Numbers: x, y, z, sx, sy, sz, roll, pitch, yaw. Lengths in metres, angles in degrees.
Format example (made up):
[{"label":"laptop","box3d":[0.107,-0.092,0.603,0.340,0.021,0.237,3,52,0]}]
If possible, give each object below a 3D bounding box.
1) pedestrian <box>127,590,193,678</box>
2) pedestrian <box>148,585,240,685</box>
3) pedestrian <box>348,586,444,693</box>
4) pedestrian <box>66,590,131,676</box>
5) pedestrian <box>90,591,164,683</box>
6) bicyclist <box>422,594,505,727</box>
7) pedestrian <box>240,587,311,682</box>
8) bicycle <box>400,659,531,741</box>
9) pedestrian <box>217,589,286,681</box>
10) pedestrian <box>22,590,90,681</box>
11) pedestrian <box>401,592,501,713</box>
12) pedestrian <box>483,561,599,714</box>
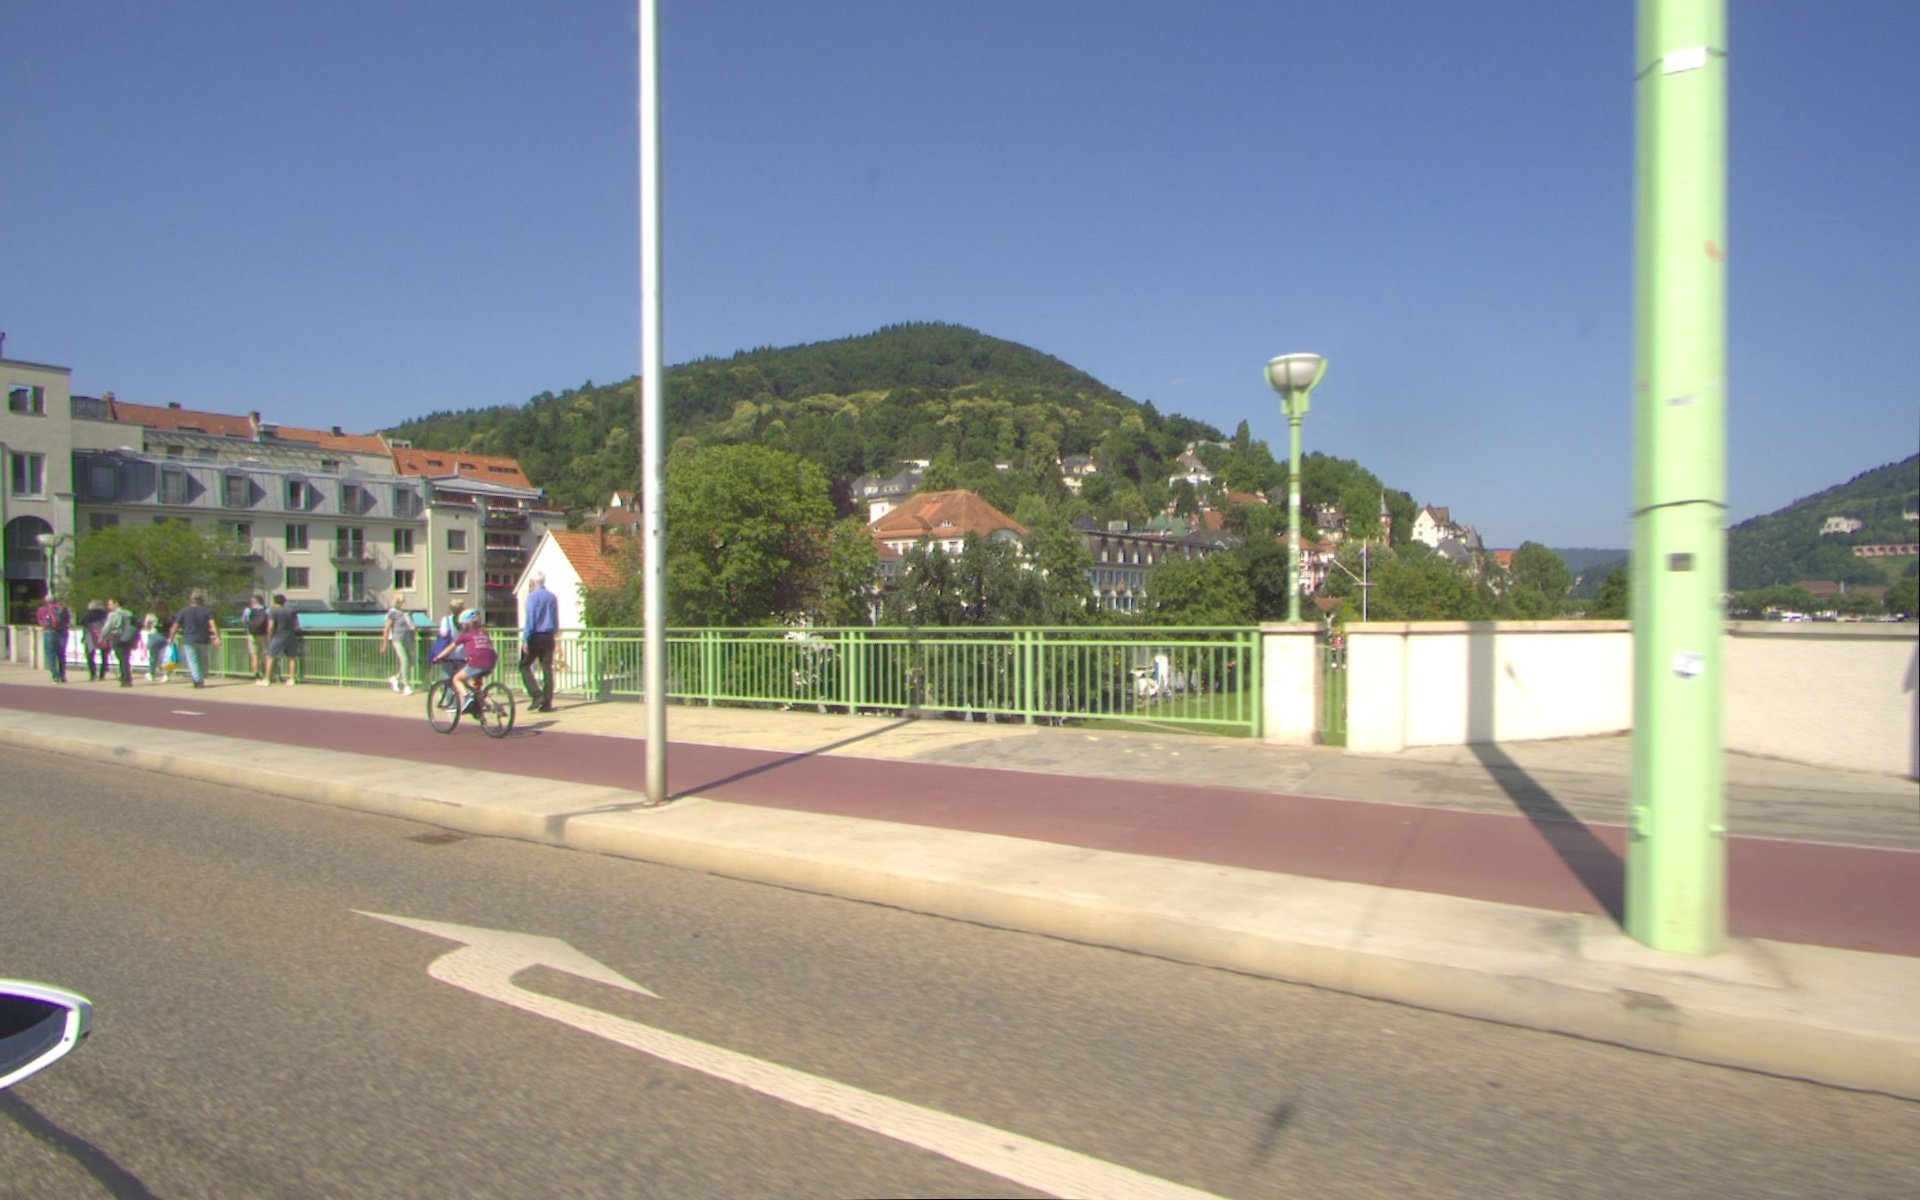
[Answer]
[{"label":"pedestrian","box3d":[-16.682,0.700,20.887,1.001,1.770,0.737,0,2,32]},{"label":"pedestrian","box3d":[-14.441,0.643,18.878,1.190,1.802,0.975,0,2,32]},{"label":"pedestrian","box3d":[-9.278,0.628,16.486,1.067,1.685,0.945,0,2,32]},{"label":"pedestrian","box3d":[-18.628,0.700,21.653,1.001,1.802,0.737,0,2,32]},{"label":"pedestrian","box3d":[-16.212,0.704,19.490,1.058,1.741,0.752,0,2,32]},{"label":"bicyclist","box3d":[-5.438,0.645,10.968,0.659,1.402,0.532,0,1,32]},{"label":"pedestrian","box3d":[-13.015,0.643,19.041,1.001,1.742,0.737,0,2,32]},{"label":"bicycle","box3d":[-5.438,1.075,10.982,1.637,0.776,0.512,-1,2,33]},{"label":"pedestrian","box3d":[-13.864,0.670,19.595,1.001,1.741,0.737,0,1,32]},{"label":"pedestrian","box3d":[-18.775,0.715,20.800,1.001,1.827,0.737,0,2,32]},{"label":"pedestrian","box3d":[-6.911,0.685,13.611,0.919,1.550,0.827,0,2,32]},{"label":"pedestrian","box3d":[-5.569,0.475,13.317,1.121,1.923,0.924,0,1,32]}]
